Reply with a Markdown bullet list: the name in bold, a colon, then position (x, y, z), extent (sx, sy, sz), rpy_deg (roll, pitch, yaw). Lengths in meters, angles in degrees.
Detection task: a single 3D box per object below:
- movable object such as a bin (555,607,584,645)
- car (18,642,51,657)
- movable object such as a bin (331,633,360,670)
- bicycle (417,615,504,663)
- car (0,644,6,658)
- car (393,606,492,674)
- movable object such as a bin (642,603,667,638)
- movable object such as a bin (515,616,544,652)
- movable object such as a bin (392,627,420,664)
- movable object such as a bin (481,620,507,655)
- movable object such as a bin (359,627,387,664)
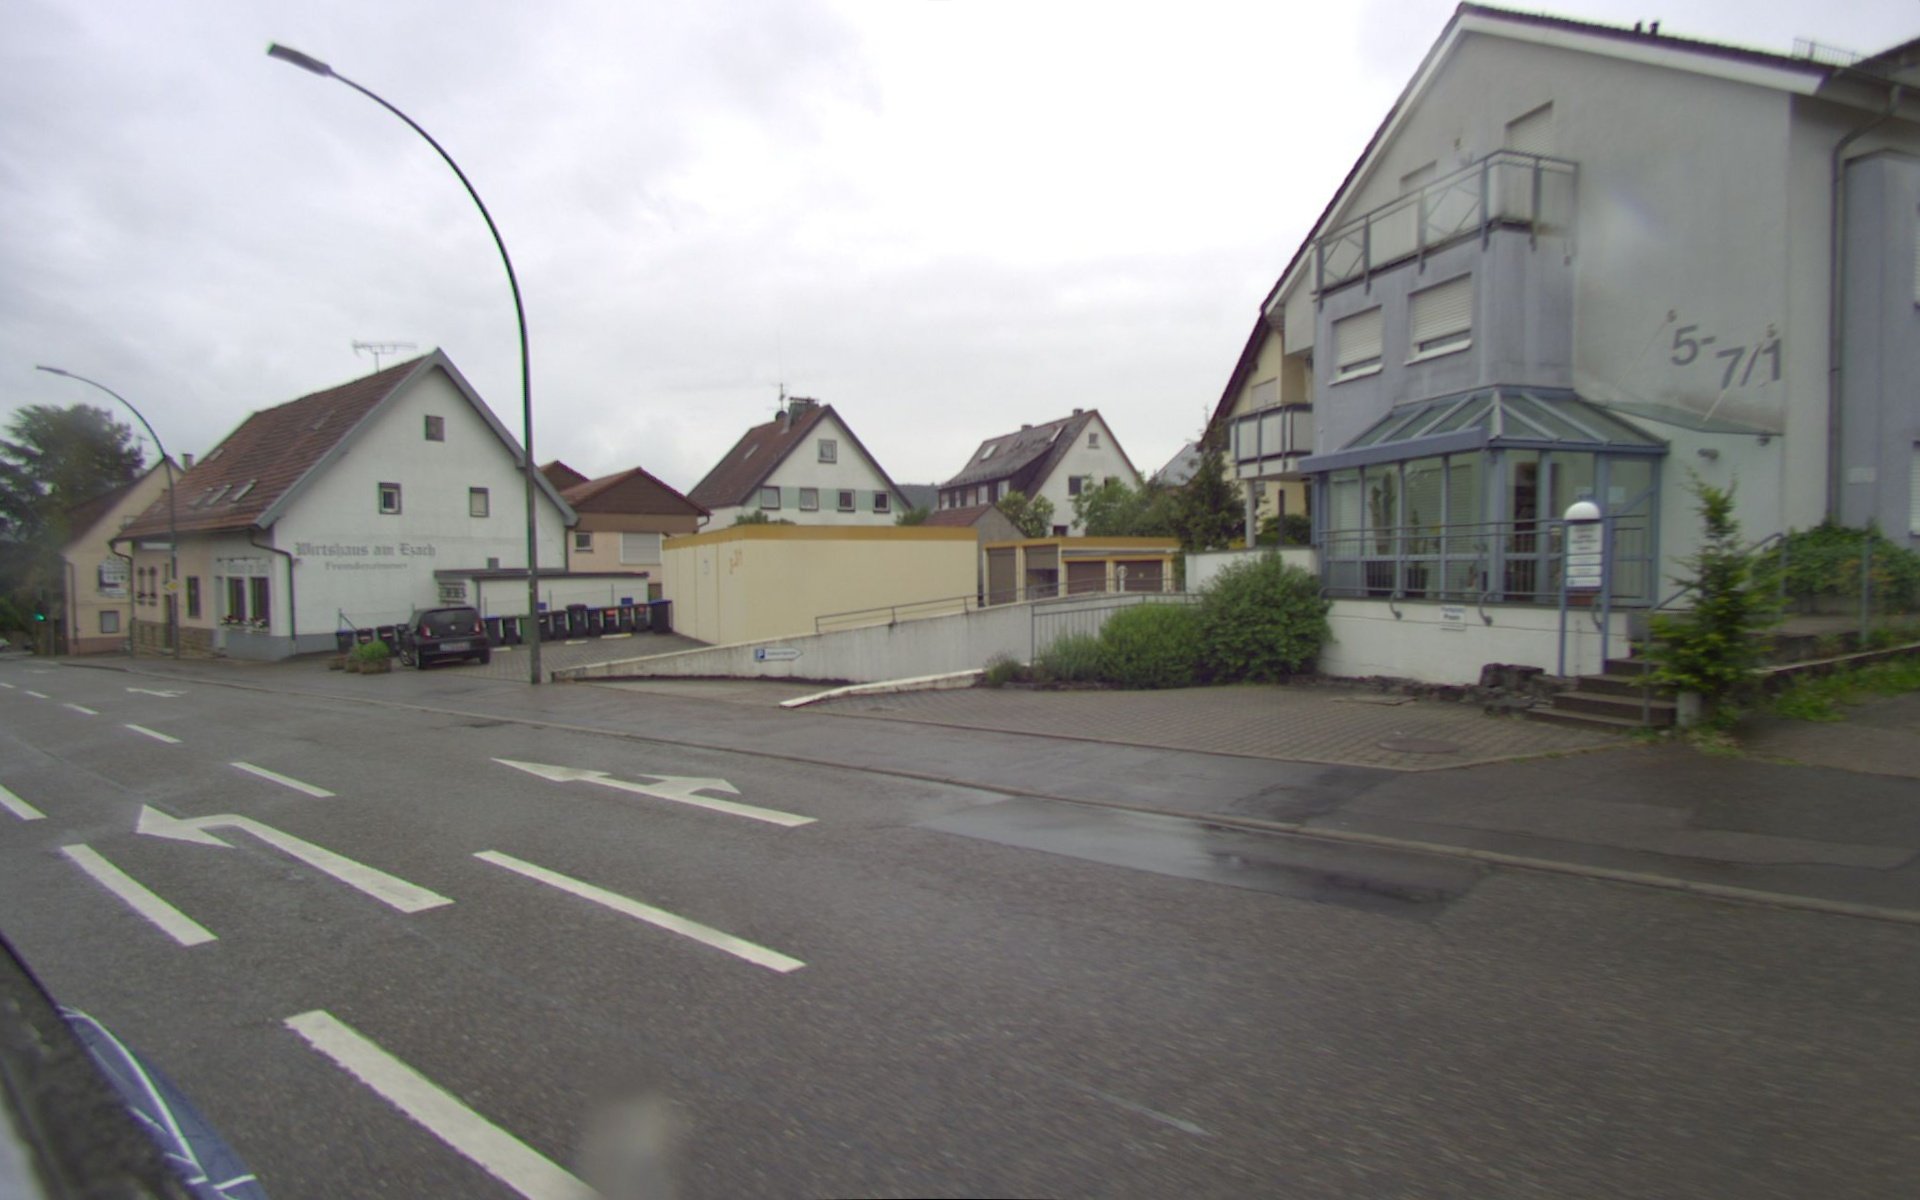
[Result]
- **movable object such as a bin**: position (-12.324, 0.813, 31.934), extent (0.630, 1.138, 0.606), rpy_deg (-6, 2, -36)
- **car**: position (-103.826, 5.546, 113.573), extent (1.803, 1.642, 4.166), rpy_deg (0, -2, -30)
- **movable object such as a bin**: position (-17.420, 1.449, 28.684), extent (0.629, 1.040, 0.675), rpy_deg (0, -2, -36)
- **bicycle**: position (-14.128, 1.083, 28.644), extent (2.070, 1.122, 0.739), rpy_deg (-5, 4, -33)
- **car**: position (-97.310, 5.149, 101.362), extent (1.735, 1.430, 4.165), rpy_deg (0, -2, -31)
- **car**: position (-13.076, 0.967, 25.443), extent (1.875, 1.453, 3.839), rpy_deg (-4, 0, -31)
- **movable object such as a bin**: position (-9.657, 0.649, 31.988), extent (0.660, 1.087, 0.626), rpy_deg (0, -2, -27)
- **movable object such as a bin**: position (-13.326, 1.056, 31.337), extent (0.630, 1.039, 0.606), rpy_deg (-6, 2, -36)
- **movable object such as a bin**: position (-16.196, 1.320, 29.564), extent (0.629, 1.040, 0.606), rpy_deg (-1, -1, -36)
- **movable object such as a bin**: position (-14.214, 1.128, 30.869), extent (0.629, 1.040, 0.606), rpy_deg (0, -2, -36)
- **movable object such as a bin**: position (-16.862, 1.304, 29.059), extent (0.629, 1.040, 0.606), rpy_deg (0, -2, -36)
